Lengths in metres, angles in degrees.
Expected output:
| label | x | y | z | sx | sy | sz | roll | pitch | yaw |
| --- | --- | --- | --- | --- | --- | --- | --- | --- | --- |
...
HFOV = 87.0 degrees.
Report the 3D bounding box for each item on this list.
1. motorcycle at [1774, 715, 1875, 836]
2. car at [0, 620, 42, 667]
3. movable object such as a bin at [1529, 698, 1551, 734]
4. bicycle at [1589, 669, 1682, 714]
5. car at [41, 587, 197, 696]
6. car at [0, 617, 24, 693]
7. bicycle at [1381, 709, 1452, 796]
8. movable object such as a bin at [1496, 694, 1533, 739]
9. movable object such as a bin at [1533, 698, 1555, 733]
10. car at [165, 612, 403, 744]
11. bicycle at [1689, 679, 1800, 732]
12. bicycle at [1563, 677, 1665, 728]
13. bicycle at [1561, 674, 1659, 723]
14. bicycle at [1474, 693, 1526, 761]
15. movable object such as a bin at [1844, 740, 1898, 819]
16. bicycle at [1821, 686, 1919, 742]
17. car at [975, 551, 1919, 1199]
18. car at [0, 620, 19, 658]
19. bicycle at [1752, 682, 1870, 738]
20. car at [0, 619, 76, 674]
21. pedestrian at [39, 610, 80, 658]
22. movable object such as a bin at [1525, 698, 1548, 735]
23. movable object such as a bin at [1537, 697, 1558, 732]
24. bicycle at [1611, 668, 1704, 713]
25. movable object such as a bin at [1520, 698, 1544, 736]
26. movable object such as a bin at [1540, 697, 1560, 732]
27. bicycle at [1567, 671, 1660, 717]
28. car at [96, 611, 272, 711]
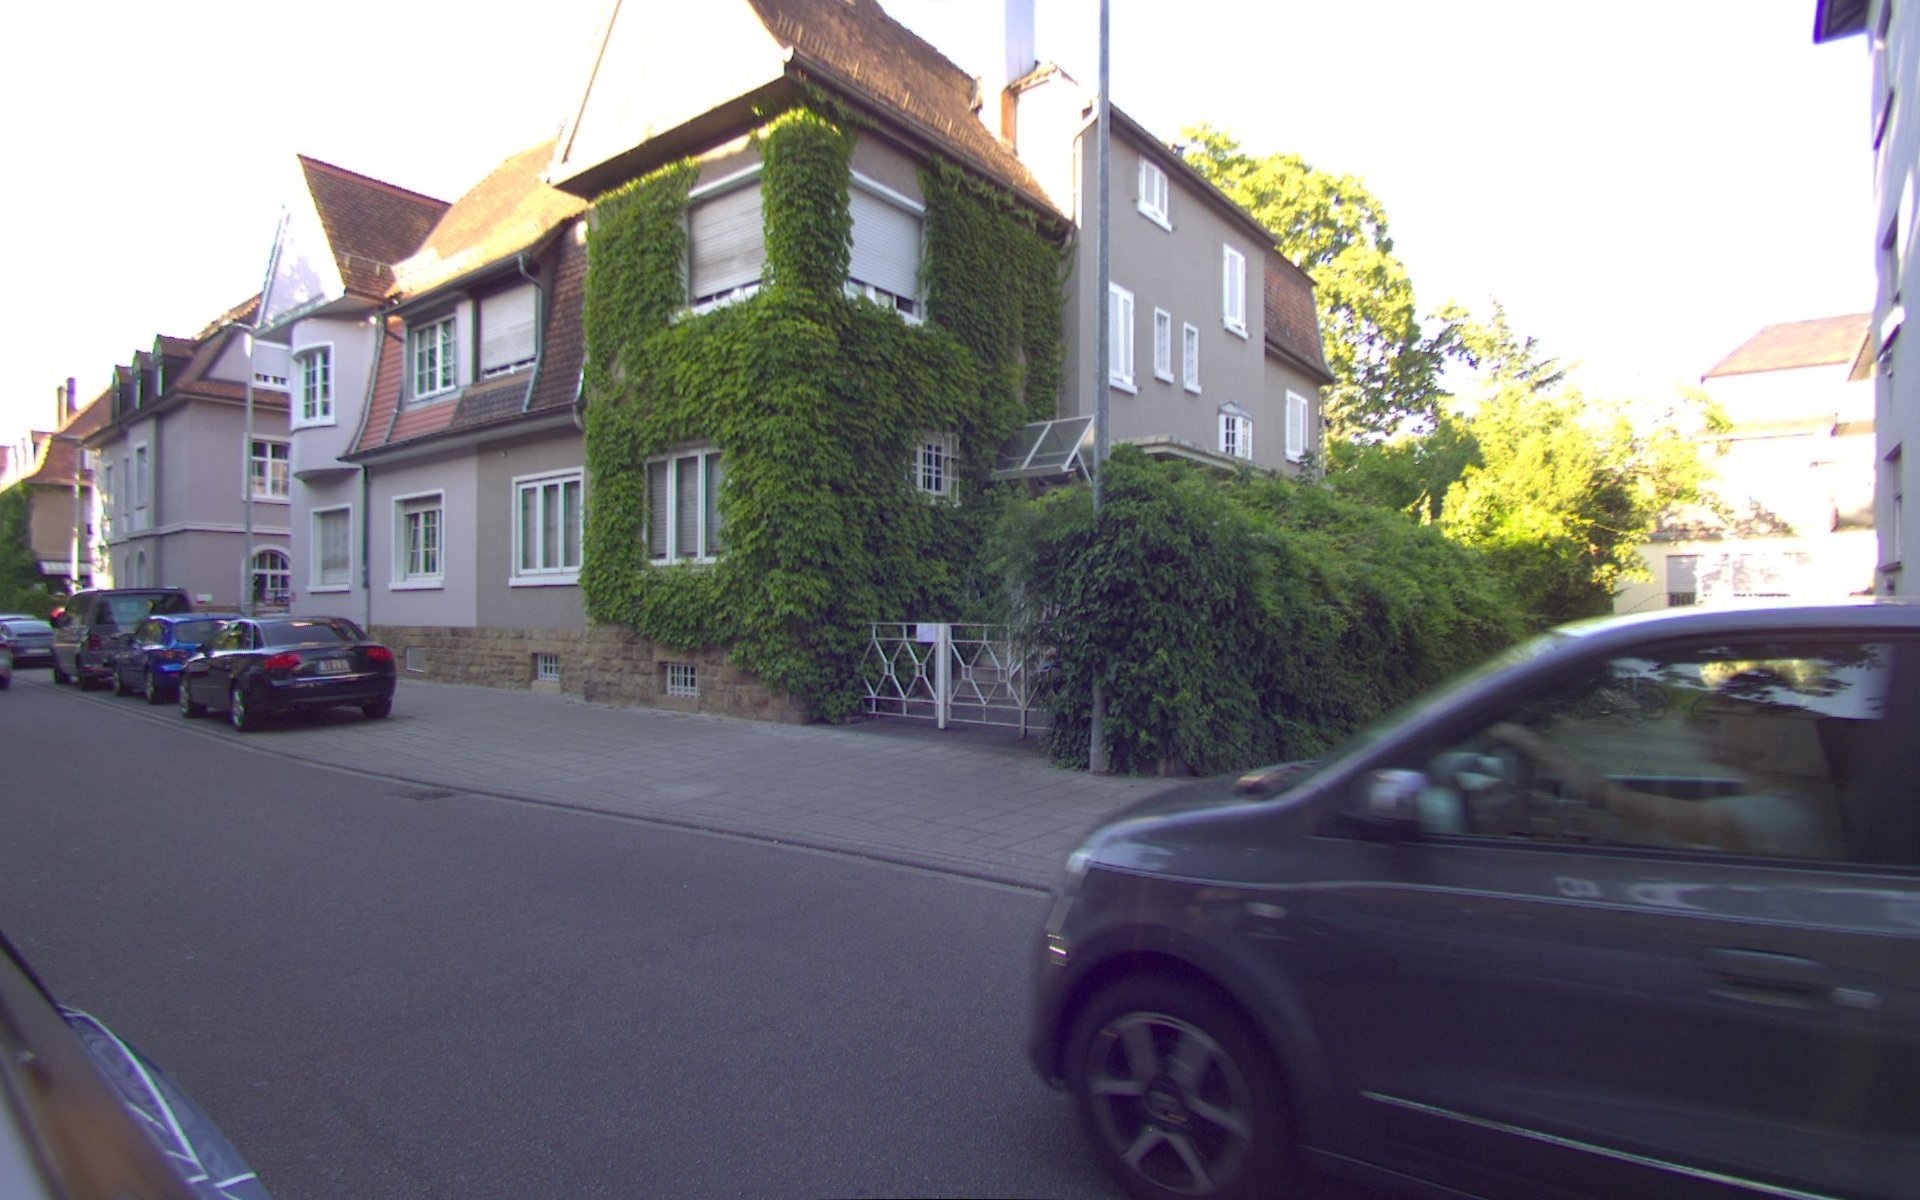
| label | x | y | z | sx | sy | sz | roll | pitch | yaw |
| --- | --- | --- | --- | --- | --- | --- | --- | --- | --- |
| motorcycle | 10.735 | 2.136 | 12.619 | 0.757 | 1.261 | 1.575 | -1 | -3 | 34 |
| car | -30.568 | 1.357 | 32.166 | 3.942 | 1.381 | 1.522 | -1 | 0 | 40 |
| movable object such as a bin | 13.035 | 2.605 | 22.758 | 0.375 | 0.764 | 0.359 | -1 | -4 | 41 |
| bicycle | 18.631 | 2.511 | 27.930 | 2.068 | 1.028 | 0.608 | 1 | 3 | 41 |
| car | -17.453 | 0.779 | 20.937 | 4.308 | 1.987 | 1.698 | 0 | 2 | 40 |
| car | -20.557 | 1.075 | 20.358 | 4.293 | 1.473 | 1.764 | -2 | -4 | 37 |
| bicycle | 6.832 | 2.243 | 15.113 | 0.514 | 1.027 | 1.914 | 1 | 0 | 38 |
| movable object such as a bin | 11.557 | 2.418 | 21.089 | 0.576 | 0.886 | 0.488 | 0 | -3 | 41 |
| movable object such as a bin | 13.298 | 2.622 | 23.051 | 0.367 | 0.764 | 0.359 | -1 | -4 | 41 |
| car | -9.318 | 0.931 | 13.831 | 4.023 | 1.439 | 1.729 | 0 | 2 | 42 |
| bicycle | 18.812 | 2.511 | 24.312 | 2.068 | 1.028 | 0.634 | 1 | 3 | 41 |
| bicycle | 16.288 | 2.541 | 25.251 | 2.068 | 1.028 | 0.634 | 1 | 3 | 41 |
| bicycle | 16.852 | 2.533 | 26.262 | 2.068 | 1.028 | 0.565 | 1 | 3 | 41 |
| bicycle | 9.970 | 2.316 | 18.666 | 0.514 | 1.027 | 1.914 | 1 | 0 | 38 |
| movable object such as a bin | 11.773 | 2.308 | 13.092 | 0.432 | 0.894 | 0.717 | -1 | -3 | 37 |
| bicycle | 20.659 | 2.553 | 22.677 | 2.068 | 1.028 | 0.634 | 1 | 3 | 41 |
| car | 1.946 | 0.715 | 2.281 | 3.587 | 1.513 | 1.600 | -1 | -3 | 38 |
| car | -36.573 | 1.463 | 37.729 | 3.942 | 1.381 | 1.698 | -1 | 0 | 40 |
| bicycle | 19.732 | 2.532 | 23.501 | 2.068 | 1.028 | 0.634 | 1 | 3 | 41 |
| car | -26.293 | 1.246 | 28.311 | 4.331 | 1.381 | 1.698 | -1 | 0 | 40 |
| pedestrian | -38.068 | 1.446 | 42.789 | 0.931 | 2.029 | 1.172 | -2 | -4 | 45 |
| movable object such as a bin | 12.784 | 2.580 | 22.456 | 0.381 | 0.779 | 0.359 | -1 | -4 | 41 |
| movable object such as a bin | 13.550 | 2.641 | 23.348 | 0.367 | 0.764 | 0.359 | -1 | -4 | 41 |
| bicycle | 19.432 | 2.500 | 28.235 | 2.068 | 1.028 | 0.561 | 1 | 3 | 41 |
| movable object such as a bin | 12.514 | 2.557 | 22.153 | 0.398 | 0.779 | 0.359 | -1 | -4 | 41 |
| movable object such as a bin | 13.800 | 2.671 | 23.655 | 0.346 | 0.764 | 0.359 | -1 | -4 | 41 |
| bicycle | 17.713 | 2.523 | 27.465 | 2.068 | 1.028 | 0.608 | 1 | 3 | 41 |
| car | -13.703 | 0.980 | 17.789 | 4.021 | 1.475 | 1.591 | 0 | 2 | 40 |
